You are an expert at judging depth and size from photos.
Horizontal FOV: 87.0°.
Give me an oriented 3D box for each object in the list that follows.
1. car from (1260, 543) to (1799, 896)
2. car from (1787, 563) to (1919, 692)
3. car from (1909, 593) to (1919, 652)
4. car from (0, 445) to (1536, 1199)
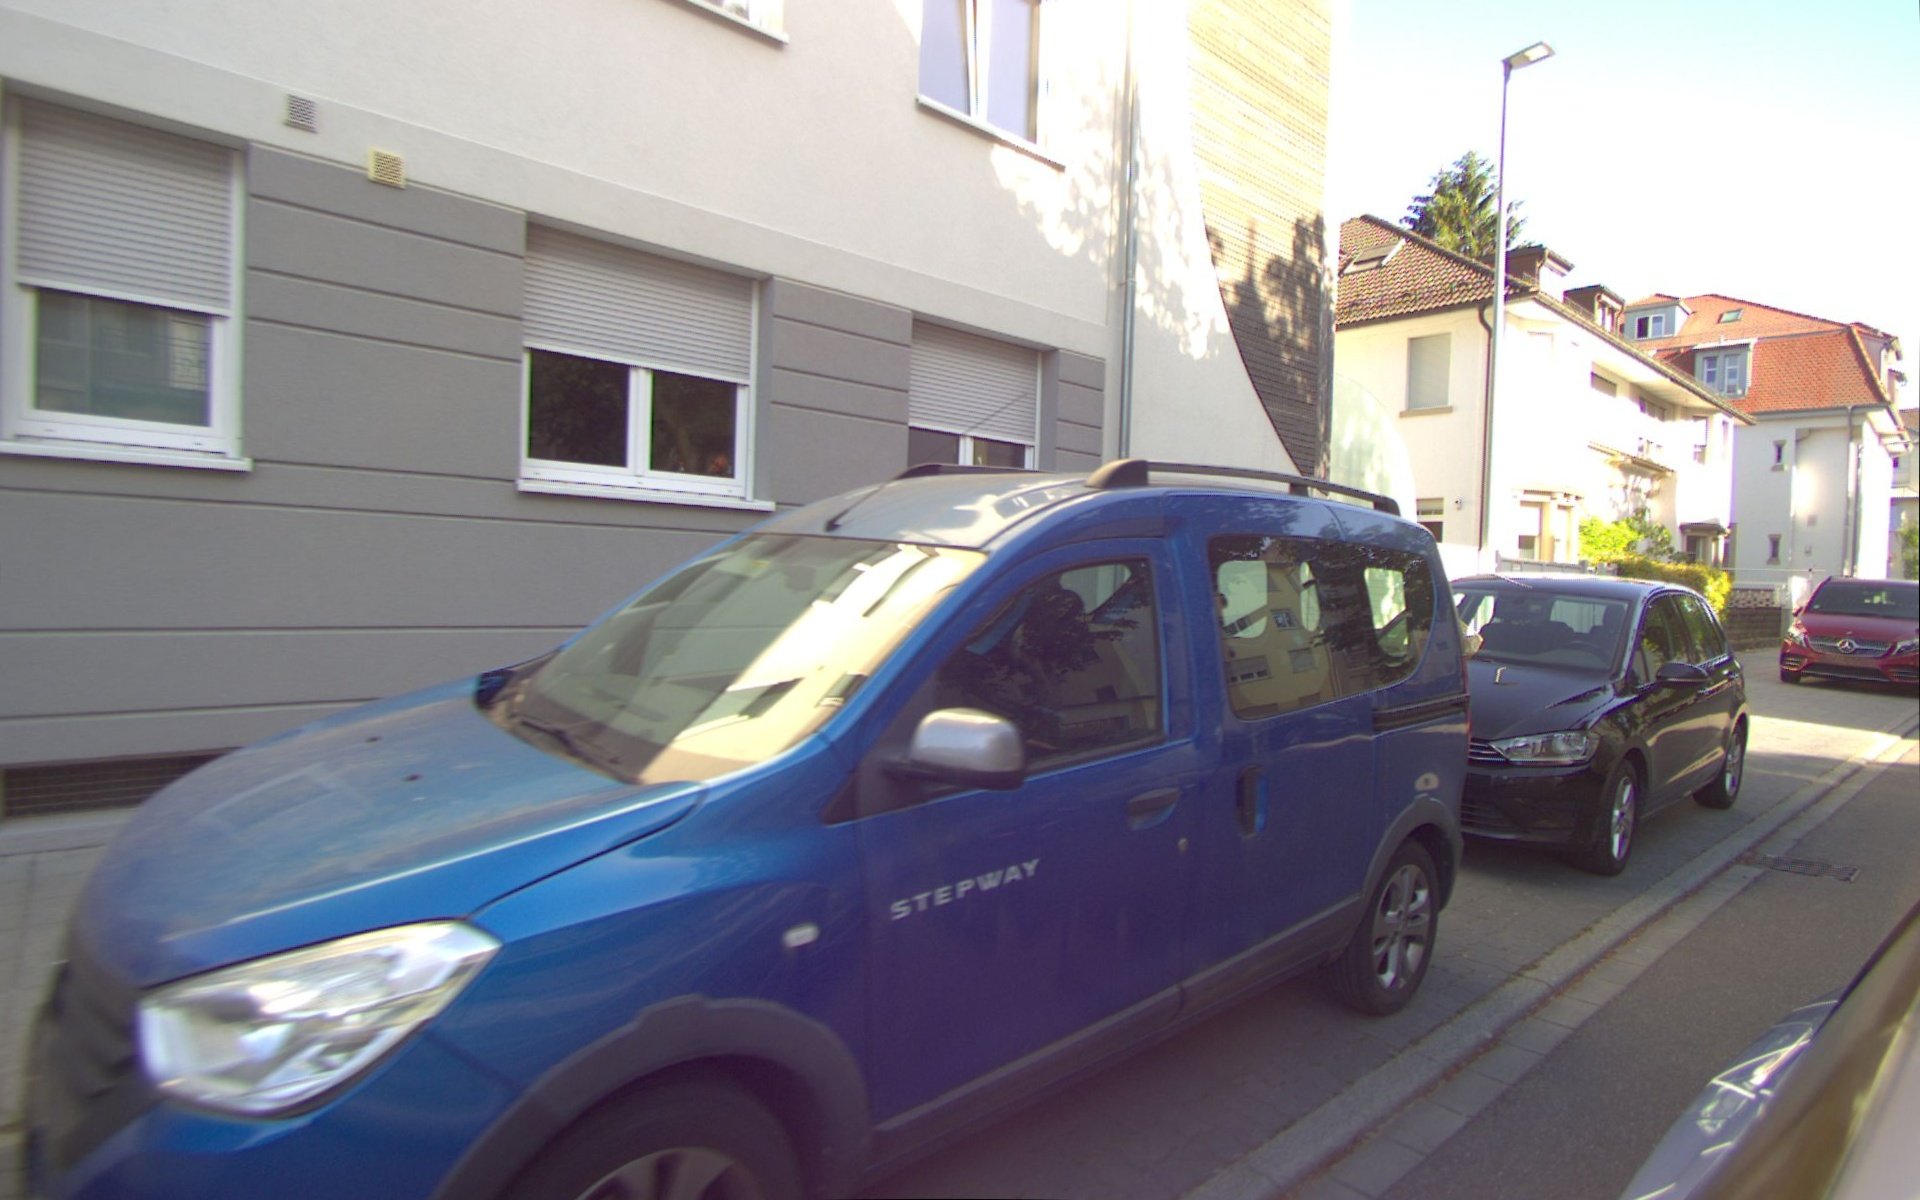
[{"bbox_3d":[3.907,0.521,6.630,4.106,1.549,1.741,0,4,-42],"label":"car"},{"bbox_3d":[16.362,0.387,17.639,5.102,1.928,1.877,0,3,-38],"label":"car"},{"bbox_3d":[25.931,0.630,26.212,3.191,1.498,1.596,0,4,-42],"label":"car"},{"bbox_3d":[0.004,0.432,3.100,4.192,1.451,1.686,-1,7,-41],"label":"car"}]
